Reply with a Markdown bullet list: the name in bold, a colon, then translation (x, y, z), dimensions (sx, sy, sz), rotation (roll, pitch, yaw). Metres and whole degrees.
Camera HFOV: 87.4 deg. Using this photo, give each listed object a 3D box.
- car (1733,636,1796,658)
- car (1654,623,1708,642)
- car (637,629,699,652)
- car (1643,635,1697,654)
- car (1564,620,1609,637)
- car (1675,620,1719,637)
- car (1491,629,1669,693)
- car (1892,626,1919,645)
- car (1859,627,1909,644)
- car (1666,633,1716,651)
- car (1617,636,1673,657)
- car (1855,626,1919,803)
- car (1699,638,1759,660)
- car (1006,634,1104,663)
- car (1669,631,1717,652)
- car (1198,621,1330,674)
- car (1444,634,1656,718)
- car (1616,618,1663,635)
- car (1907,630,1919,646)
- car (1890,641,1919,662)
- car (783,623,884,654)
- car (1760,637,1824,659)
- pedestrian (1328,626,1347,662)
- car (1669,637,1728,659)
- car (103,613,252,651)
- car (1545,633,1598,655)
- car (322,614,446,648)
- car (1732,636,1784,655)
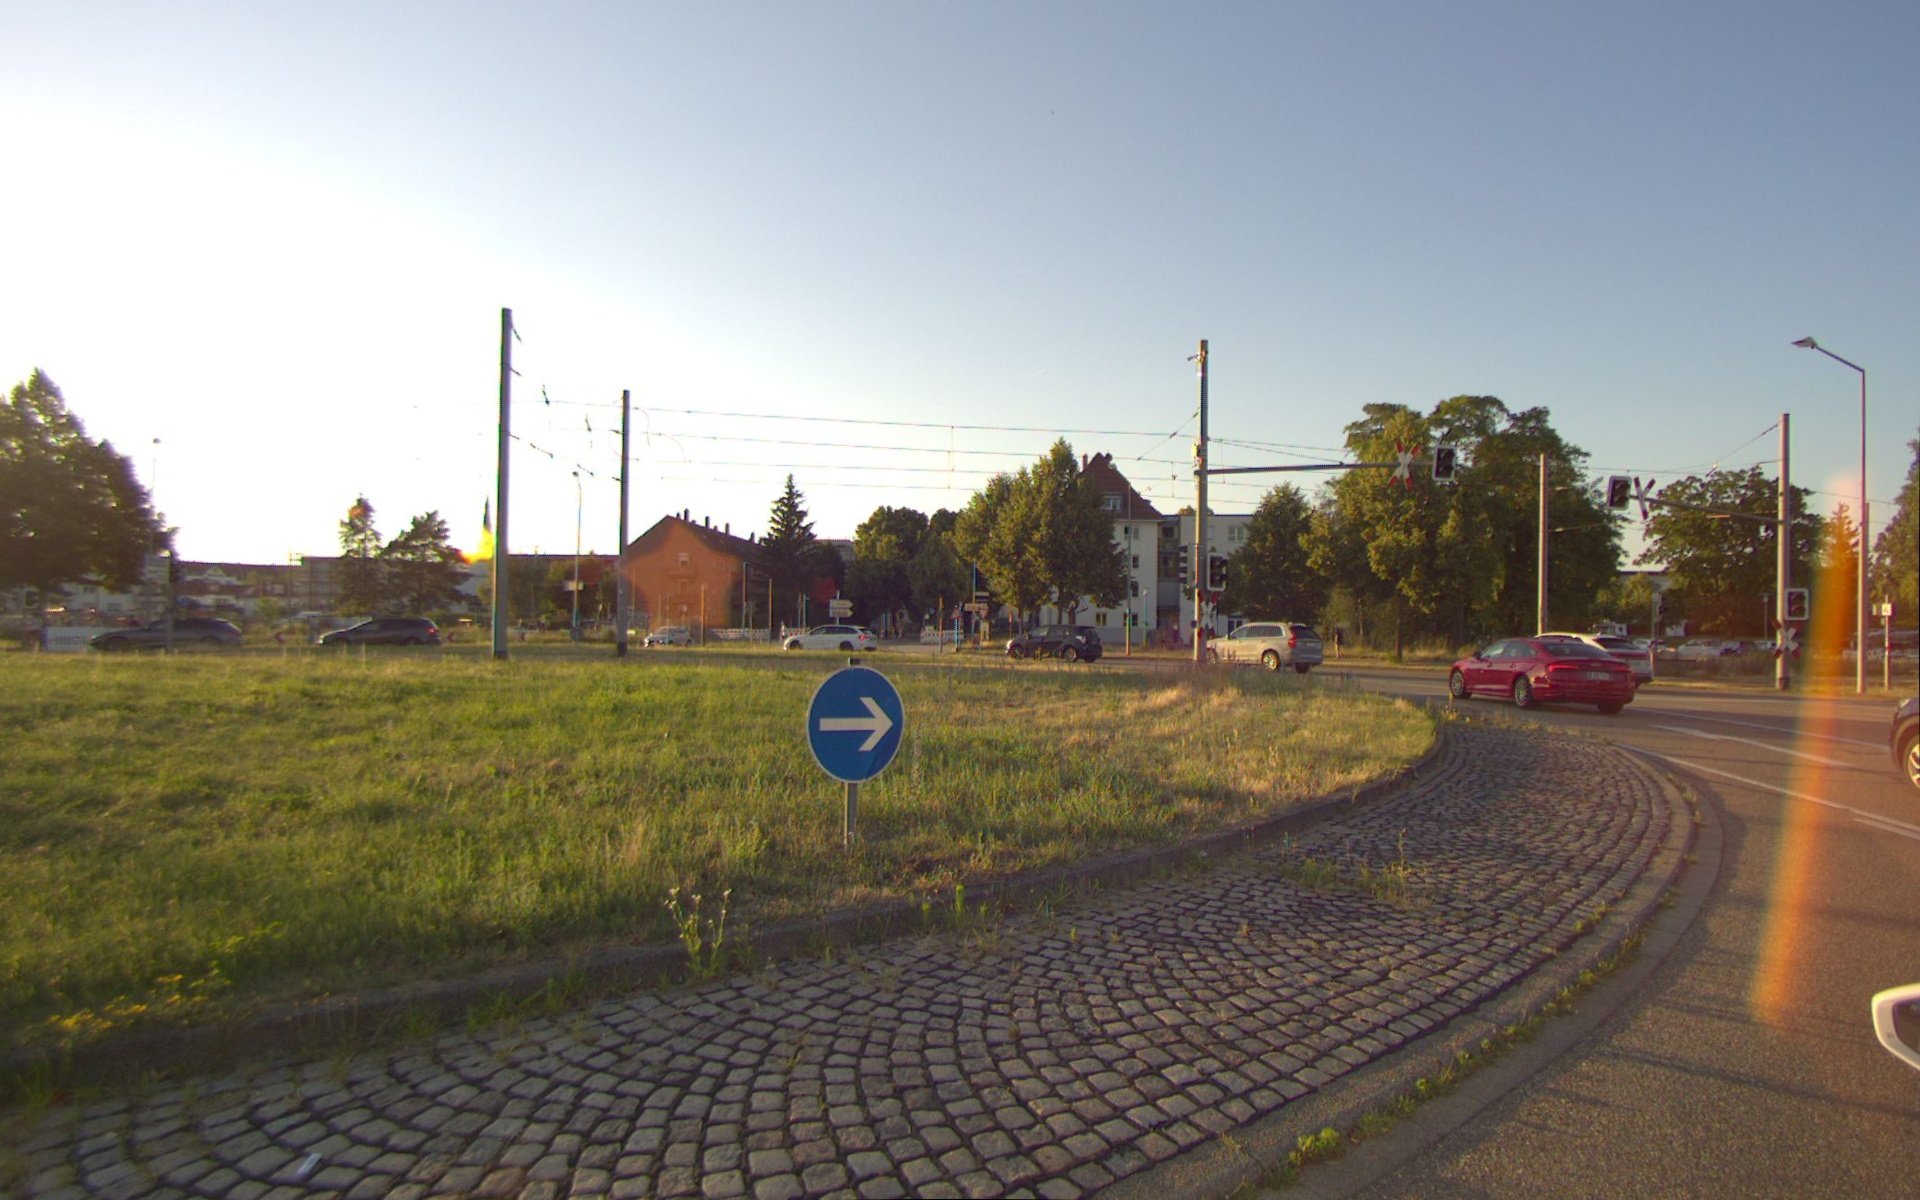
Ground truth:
- **car**: translation (63.996, 3.712, 79.939), dimensions (1.960, 1.625, 4.002), rotation (1, -1, 3)
- **car**: translation (80.207, 3.641, 111.750), dimensions (4.507, 2.040, 2.000), rotation (1, -1, 0)
- **car**: translation (-19.185, 2.619, 66.239), dimensions (2.068, 1.385, 4.470), rotation (0, -1, 12)
- **car**: translation (69.189, 4.325, 97.940), dimensions (3.919, 1.684, 1.904), rotation (1, -1, 5)
- **car**: translation (79.555, 3.646, 127.634), dimensions (4.507, 2.040, 2.000), rotation (1, -1, 0)
- **car**: translation (93.181, 3.583, 127.042), dimensions (4.033, 2.040, 2.001), rotation (1, -1, 4)
- **car**: translation (18.654, 1.771, 30.528), dimensions (1.965, 1.728, 4.707), rotation (1, -1, -11)
- **car**: translation (107.430, 4.022, 112.610), dimensions (3.919, 2.040, 2.001), rotation (1, -1, 11)
- **car**: translation (108.009, 4.122, 117.461), dimensions (3.919, 1.840, 2.001), rotation (1, -1, 5)
- **car**: translation (73.140, 4.183, 100.585), dimensions (3.934, 1.684, 1.994), rotation (0, -1, 35)
- **car**: translation (54.737, 3.698, 80.344), dimensions (1.960, 1.625, 4.002), rotation (1, -1, 3)
- **car**: translation (9.518, 1.034, 7.859), dimensions (1.857, 1.605, 4.003), rotation (1, -1, 8)
- **car**: translation (61.615, 3.907, 80.569), dimensions (1.960, 1.625, 4.002), rotation (1, -1, 3)
- **car**: translation (4.111, 2.092, 43.795), dimensions (3.933, 1.119, 1.685), rotation (0, -1, 34)
- **car**: translation (75.459, 4.211, 103.466), dimensions (3.934, 2.040, 1.994), rotation (0, -1, 35)
- **car**: translation (10.986, 1.684, 36.674), dimensions (1.873, 1.759, 4.592), rotation (1, -1, -30)
- **car**: translation (11.670, 1.432, 20.292), dimensions (1.857, 1.410, 4.499), rotation (1, -1, 3)
- **car**: translation (86.230, 3.377, 127.450), dimensions (4.505, 2.040, 2.001), rotation (1, -1, 5)
- **car**: translation (105.563, 4.105, 108.732), dimensions (1.971, 1.728, 3.979), rotation (1, -1, -22)
- **car**: translation (76.333, 4.083, 79.484), dimensions (1.960, 1.625, 4.002), rotation (1, -1, 3)
- **car**: translation (-6.149, 1.863, 48.891), dimensions (4.377, 1.385, 2.111), rotation (0, -1, 16)
- **car**: translation (66.349, 3.784, 80.179), dimensions (1.960, 1.625, 4.002), rotation (1, -1, 3)
- **pedestrian**: translation (20.682, 2.418, 55.039), dimensions (0.614, 1.918, 0.662), rotation (2, 0, -35)
- **car**: translation (59.496, 3.845, 81.046), dimensions (1.960, 1.625, 4.002), rotation (1, -1, 3)
- **car**: translation (-30.680, 1.256, 39.566), dimensions (4.299, 1.394, 1.985), rotation (1, -1, -29)
- **car**: translation (49.395, 3.540, 81.236), dimensions (1.960, 1.625, 4.002), rotation (1, -1, 3)
- **car**: translation (-24.316, 1.314, 42.568), dimensions (4.323, 1.394, 1.989), rotation (1, -1, -24)
- **car**: translation (77.326, 4.414, 97.424), dimensions (3.938, 1.684, 1.894), rotation (0, -1, 39)
